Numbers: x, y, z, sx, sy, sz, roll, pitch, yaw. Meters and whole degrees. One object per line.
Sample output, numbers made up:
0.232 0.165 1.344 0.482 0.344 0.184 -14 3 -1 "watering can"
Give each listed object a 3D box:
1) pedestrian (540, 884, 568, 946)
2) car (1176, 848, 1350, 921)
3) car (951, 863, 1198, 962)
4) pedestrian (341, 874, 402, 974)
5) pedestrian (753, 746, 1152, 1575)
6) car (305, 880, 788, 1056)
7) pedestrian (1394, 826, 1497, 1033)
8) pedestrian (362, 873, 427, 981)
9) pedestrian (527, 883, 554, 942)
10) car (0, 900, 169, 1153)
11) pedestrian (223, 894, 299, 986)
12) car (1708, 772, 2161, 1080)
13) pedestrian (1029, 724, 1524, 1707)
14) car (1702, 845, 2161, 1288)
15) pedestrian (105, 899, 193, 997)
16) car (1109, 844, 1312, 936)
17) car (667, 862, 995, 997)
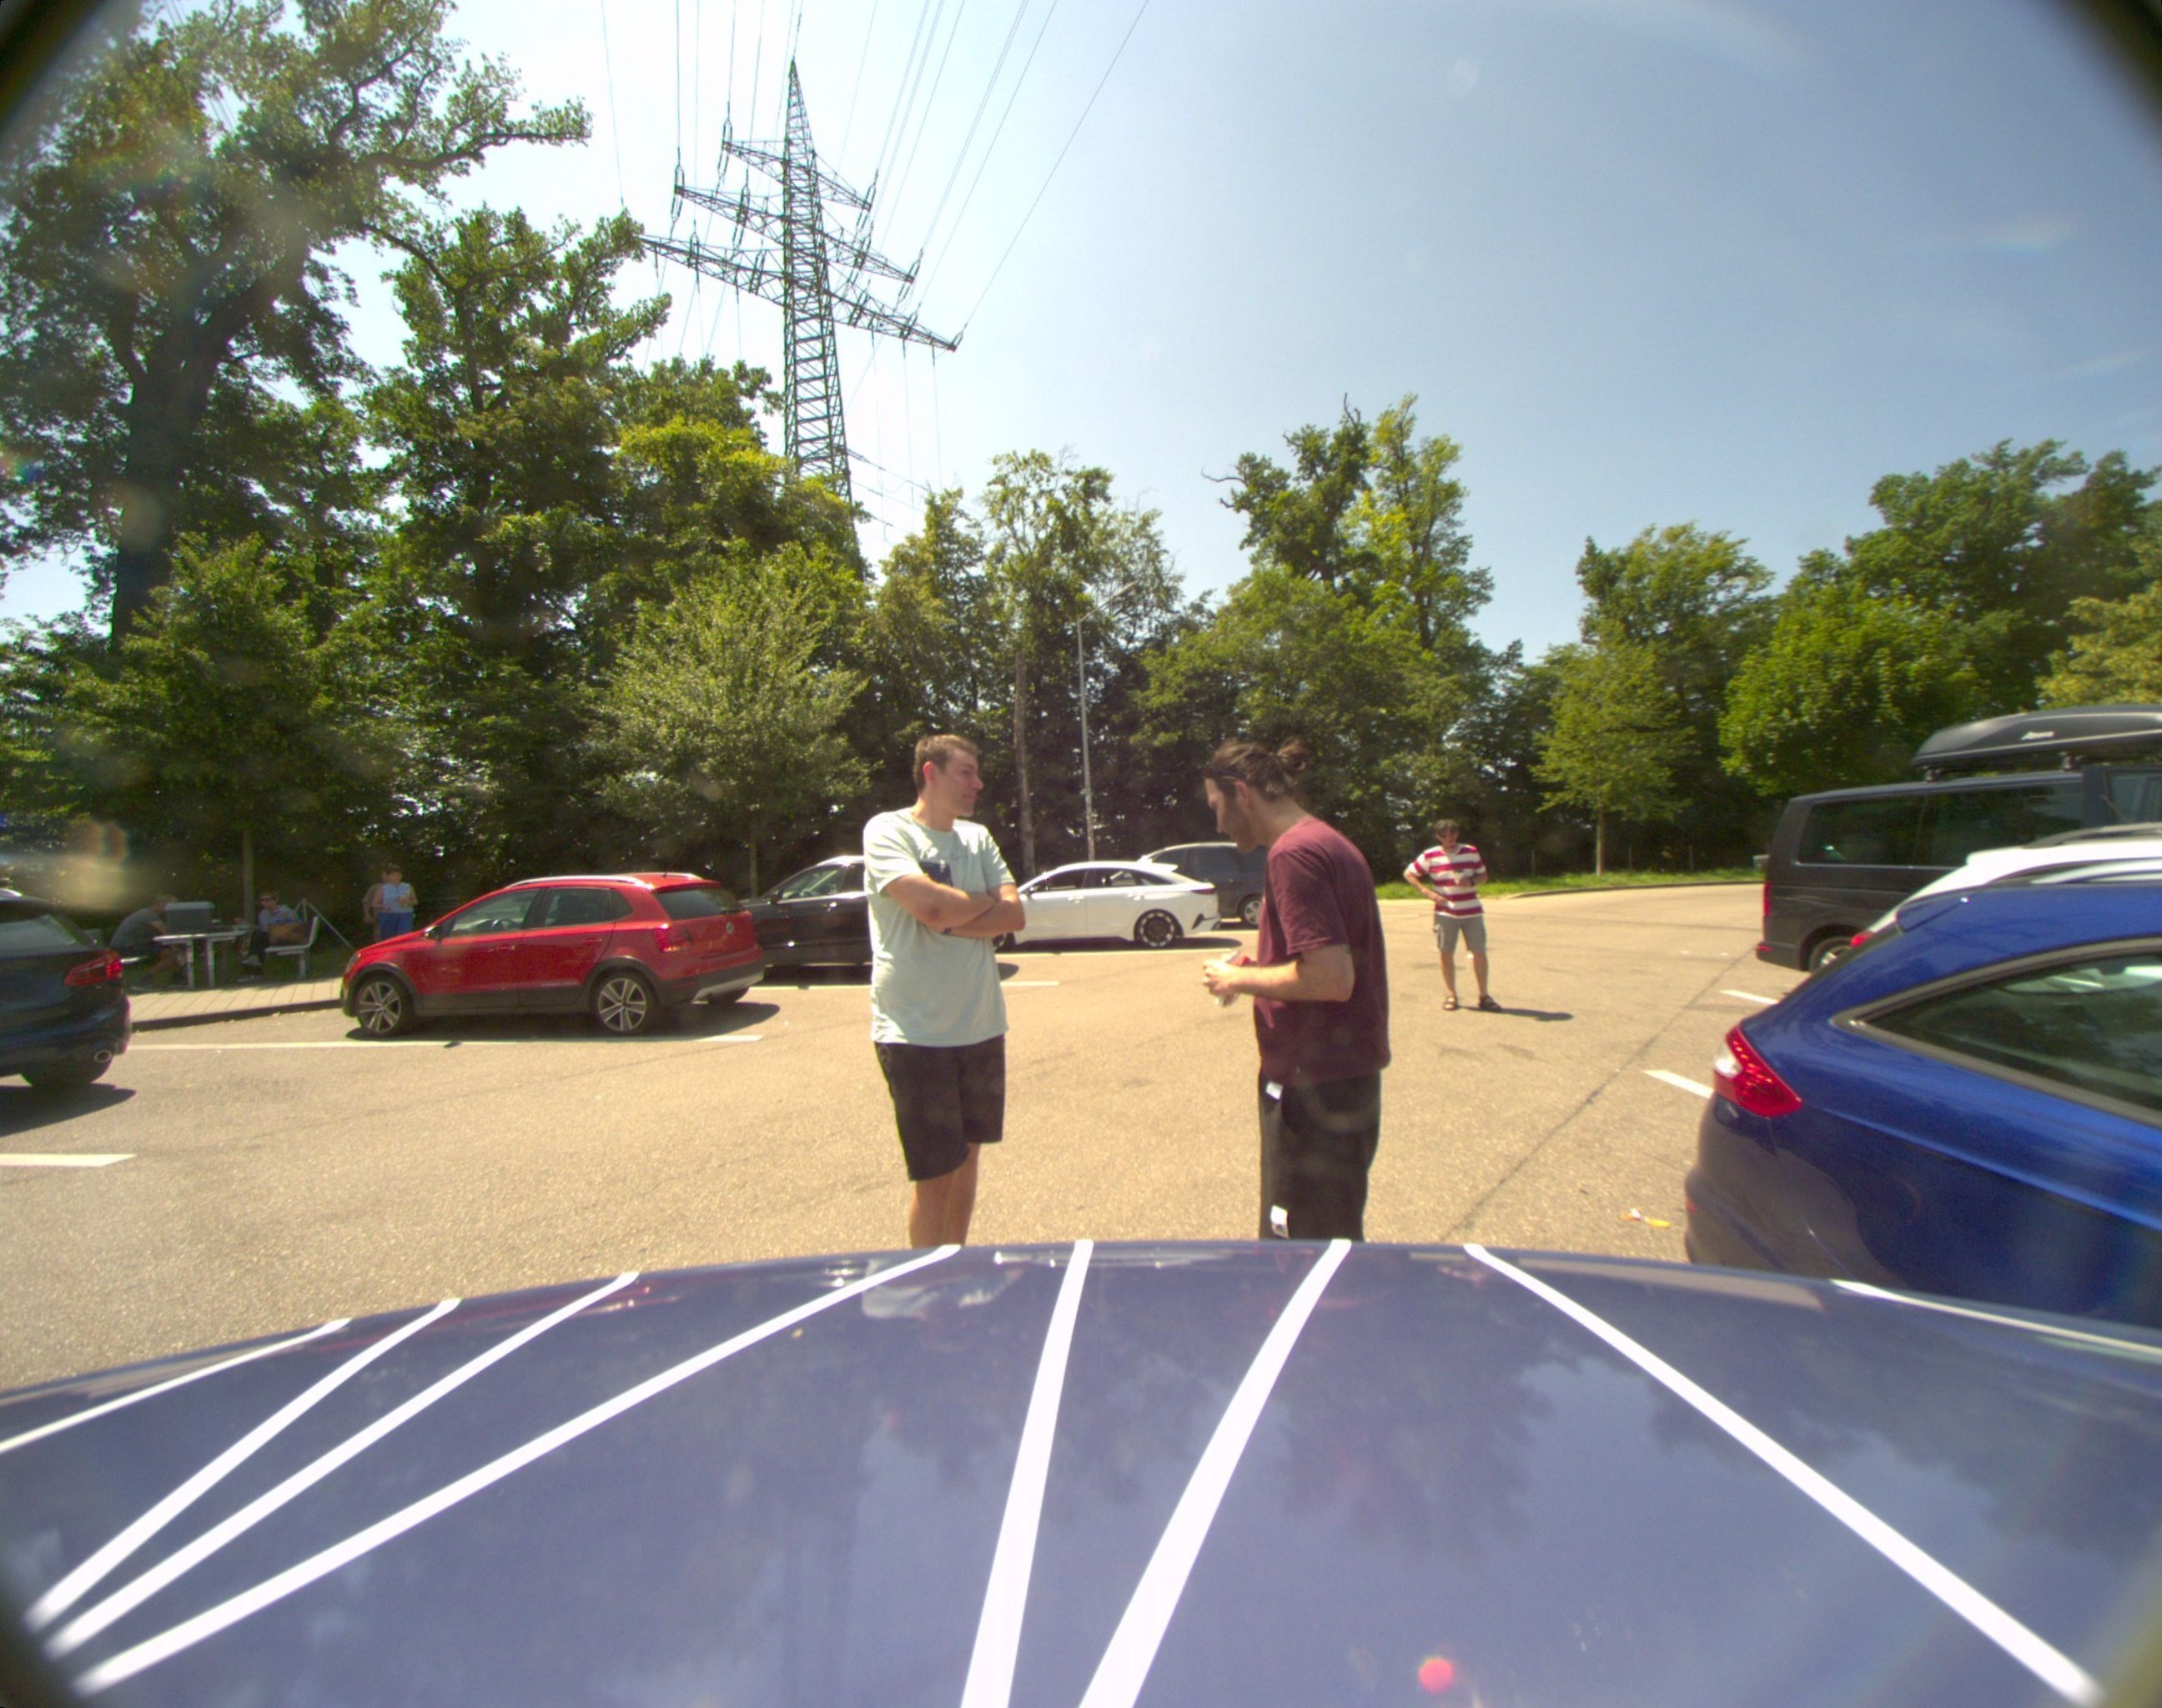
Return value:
-10.150 1.162 14.634 0.357 1.158 0.384 -3 2 -41 "pedestrian"
4.281 0.704 18.160 3.822 1.551 1.652 -2 1 12 "car"
-0.060 0.931 12.683 3.825 1.394 1.651 -2 1 4 "car"
-11.886 1.149 12.731 0.571 1.596 0.648 -1 2 43 "pedestrian"
-0.426 0.713 2.371 0.815 1.939 0.918 -3 1 -37 "pedestrian"
-5.218 1.088 7.680 3.823 1.460 1.651 -2 1 8 "car"
3.325 0.633 6.909 0.753 1.744 0.786 -2 1 29 "pedestrian"
-10.766 1.115 11.922 0.571 1.596 0.648 -1 2 43 "pedestrian"
-10.994 1.185 15.450 0.357 1.158 0.384 -3 2 -41 "pedestrian"
-9.019 1.171 5.015 4.338 1.544 1.749 -1 1 8 "car"
-11.847 1.228 10.997 0.595 1.238 0.499 -3 1 -33 "pedestrian"
7.387 0.413 5.291 1.758 1.886 4.571 -3 -1 -9 "car"
0.480 0.714 1.938 0.919 1.894 0.815 -2 1 16 "pedestrian"
4.658 0.728 2.260 1.757 1.496 4.574 -3 -1 -1 "car"
-12.714 1.268 10.383 0.595 1.238 0.446 -3 1 -33 "pedestrian"
2.621 0.708 15.465 3.822 1.686 1.652 -2 1 12 "car"
-3.236 0.960 10.309 3.825 1.546 1.651 -2 1 4 "car"
